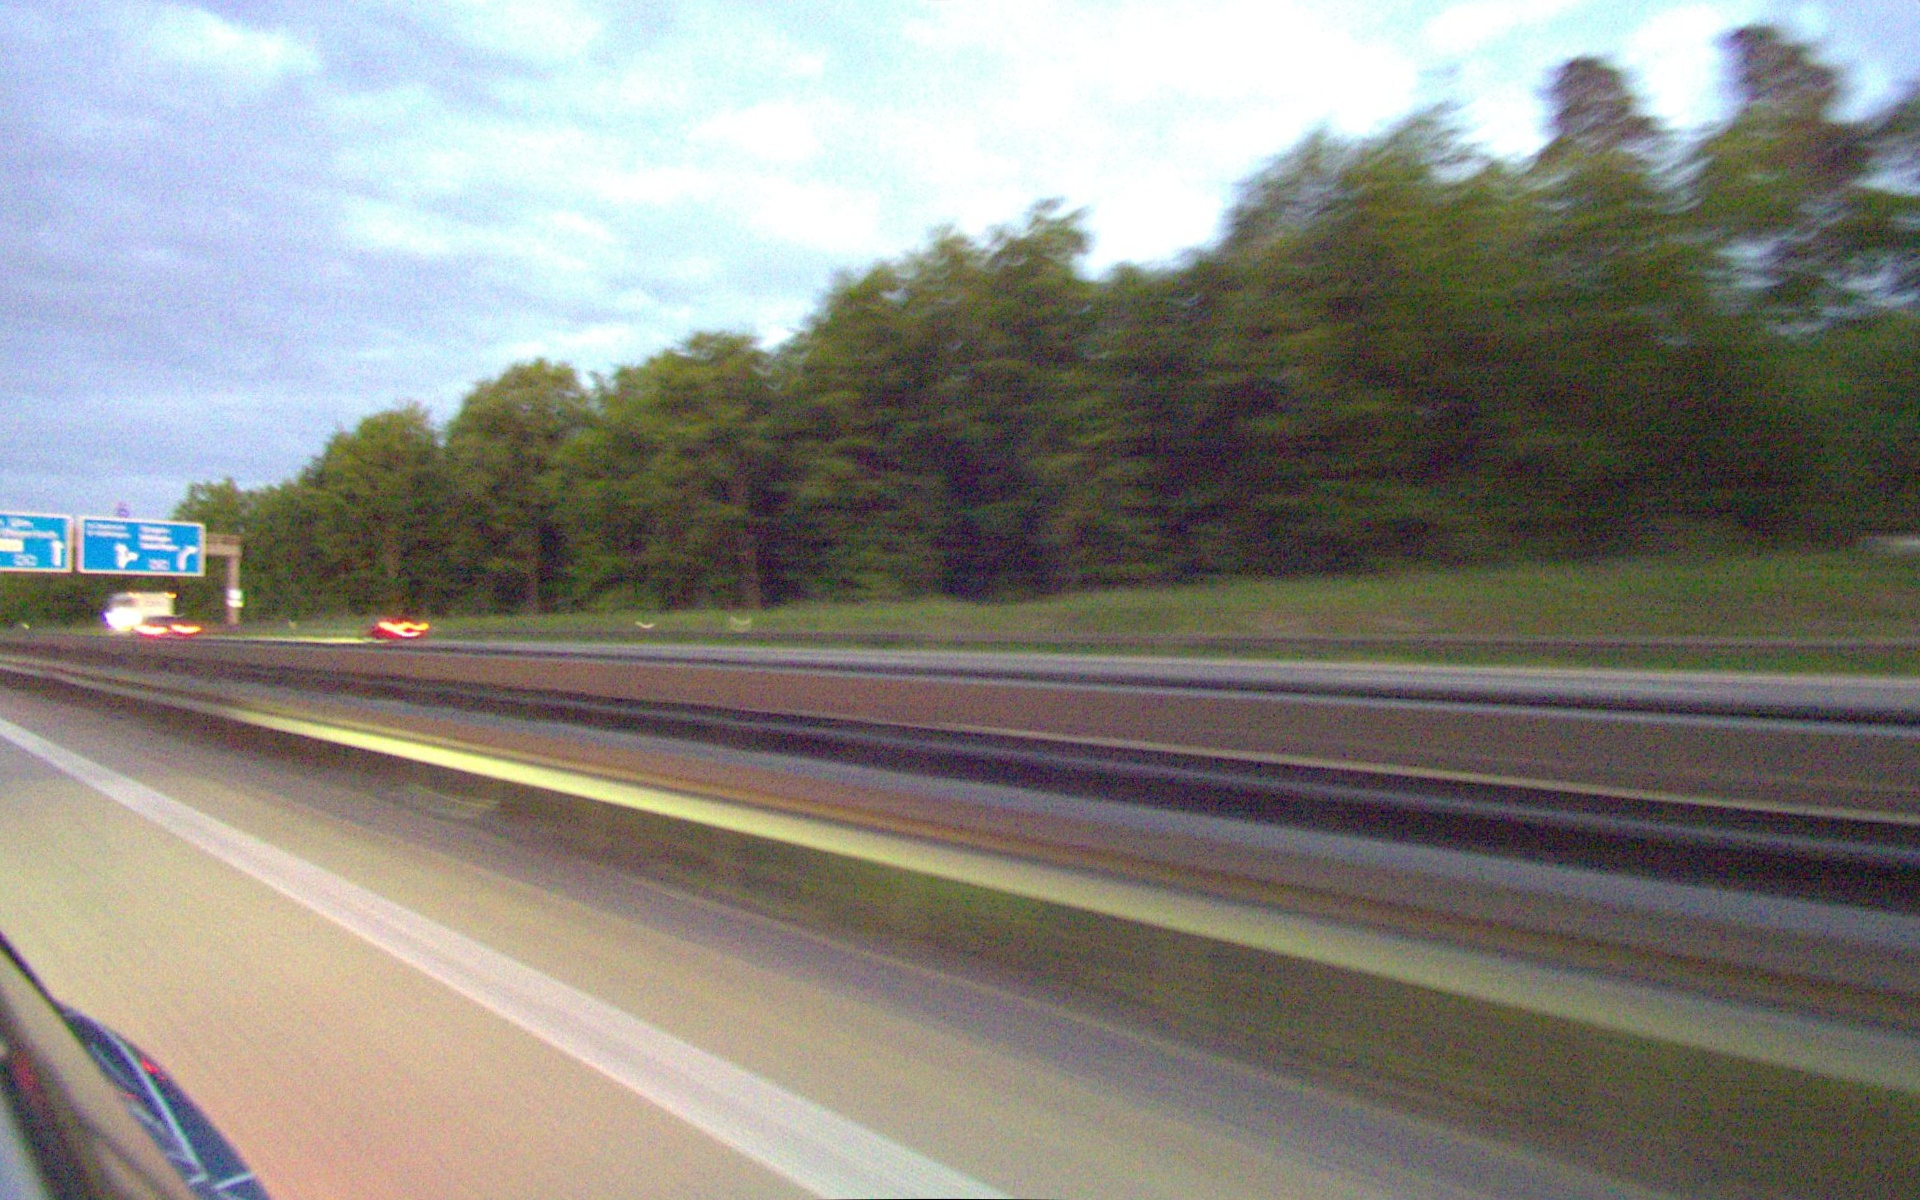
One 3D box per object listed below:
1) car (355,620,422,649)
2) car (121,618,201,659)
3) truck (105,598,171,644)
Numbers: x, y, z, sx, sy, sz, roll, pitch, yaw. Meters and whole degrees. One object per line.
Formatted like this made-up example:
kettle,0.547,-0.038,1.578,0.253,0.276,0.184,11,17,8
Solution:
car,-32.367,1.943,57.289,4.591,1.508,1.832,-2,-1,40
car,-36.558,1.733,46.274,4.546,1.718,1.973,-1,-1,40
truck,-75.050,1.912,92.297,10.534,4.041,2.618,-2,-1,40
